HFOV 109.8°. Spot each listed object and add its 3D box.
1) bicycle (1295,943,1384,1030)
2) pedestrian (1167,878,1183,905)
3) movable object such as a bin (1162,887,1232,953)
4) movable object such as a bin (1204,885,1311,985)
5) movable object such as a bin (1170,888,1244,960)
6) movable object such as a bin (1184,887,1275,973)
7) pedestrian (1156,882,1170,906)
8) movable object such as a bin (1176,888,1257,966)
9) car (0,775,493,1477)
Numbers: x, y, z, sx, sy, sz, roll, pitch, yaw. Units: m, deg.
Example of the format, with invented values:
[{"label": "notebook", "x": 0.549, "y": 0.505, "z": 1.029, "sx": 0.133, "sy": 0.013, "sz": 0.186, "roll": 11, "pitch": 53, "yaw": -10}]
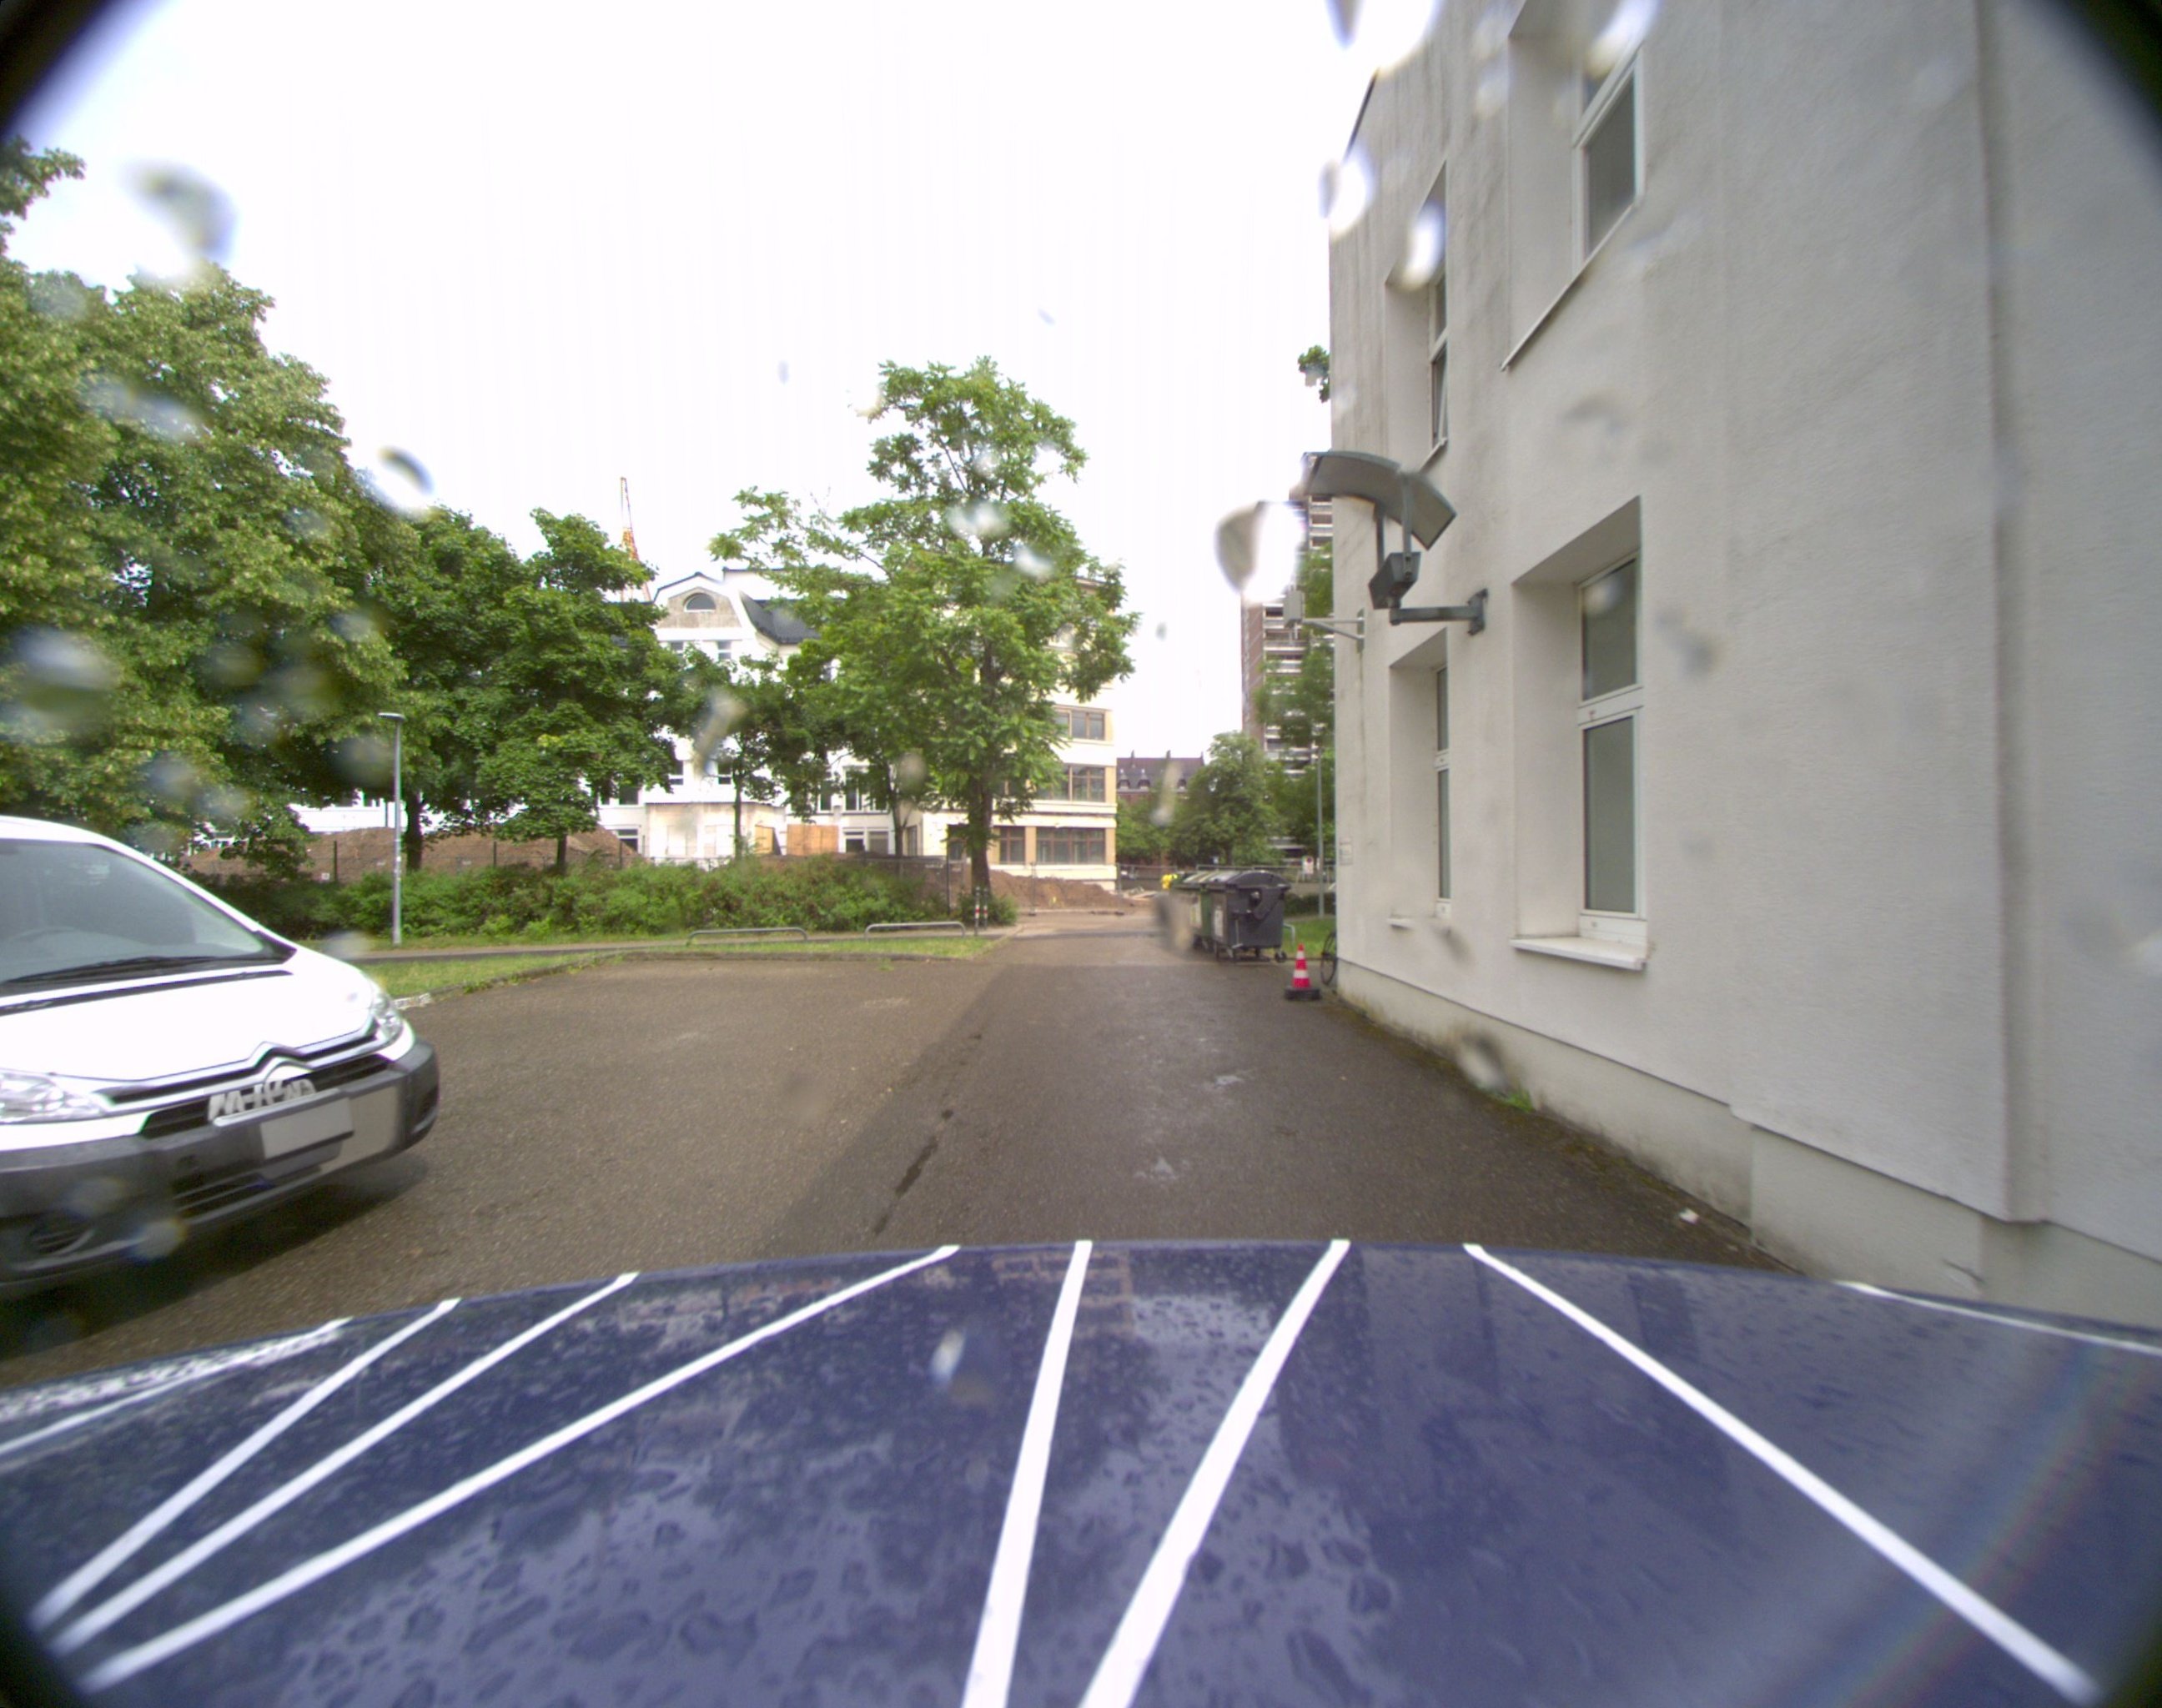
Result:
[{"label": "bicycle", "x": 3.192, "y": 1.606, "z": 9.547, "sx": 0.453, "sy": 0.794, "sz": 2.058, "roll": -1, "pitch": -2, "yaw": 2}, {"label": "pedestrian", "x": 6.004, "y": 2.378, "z": 48.483, "sx": 0.775, "sy": 1.663, "sz": 0.714, "roll": -1, "pitch": -2, "yaw": 28}, {"label": "movable object such as a bin", "x": 2.738, "y": 1.547, "z": 18.228, "sx": 1.412, "sy": 1.461, "sz": 1.561, "roll": -1, "pitch": -2, "yaw": 1}, {"label": "movable object such as a bin", "x": 2.757, "y": 1.245, "z": 12.103, "sx": 1.363, "sy": 1.461, "sz": 1.366, "roll": -1, "pitch": -2, "yaw": 1}, {"label": "movable object such as a bin", "x": 2.733, "y": 1.496, "z": 16.673, "sx": 1.363, "sy": 1.461, "sz": 1.465, "roll": -1, "pitch": -2, "yaw": 1}, {"label": "movable object such as a bin", "x": 2.652, "y": 1.343, "z": 13.825, "sx": 1.363, "sy": 1.461, "sz": 1.366, "roll": -1, "pitch": -2, "yaw": 1}, {"label": "pedestrian", "x": 5.117, "y": 2.487, "z": 47.519, "sx": 0.650, "sy": 1.499, "sz": 0.623, "roll": 1, "pitch": -2, "yaw": -39}, {"label": "movable object such as a bin", "x": 2.678, "y": 1.432, "z": 15.225, "sx": 1.363, "sy": 1.461, "sz": 1.353, "roll": -1, "pitch": -2, "yaw": 1}, {"label": "car", "x": -5.506, "y": 0.815, "z": 3.012, "sx": 4.947, "sy": 2.001, "sz": 2.001, "roll": -1, "pitch": -1, "yaw": 4}]
